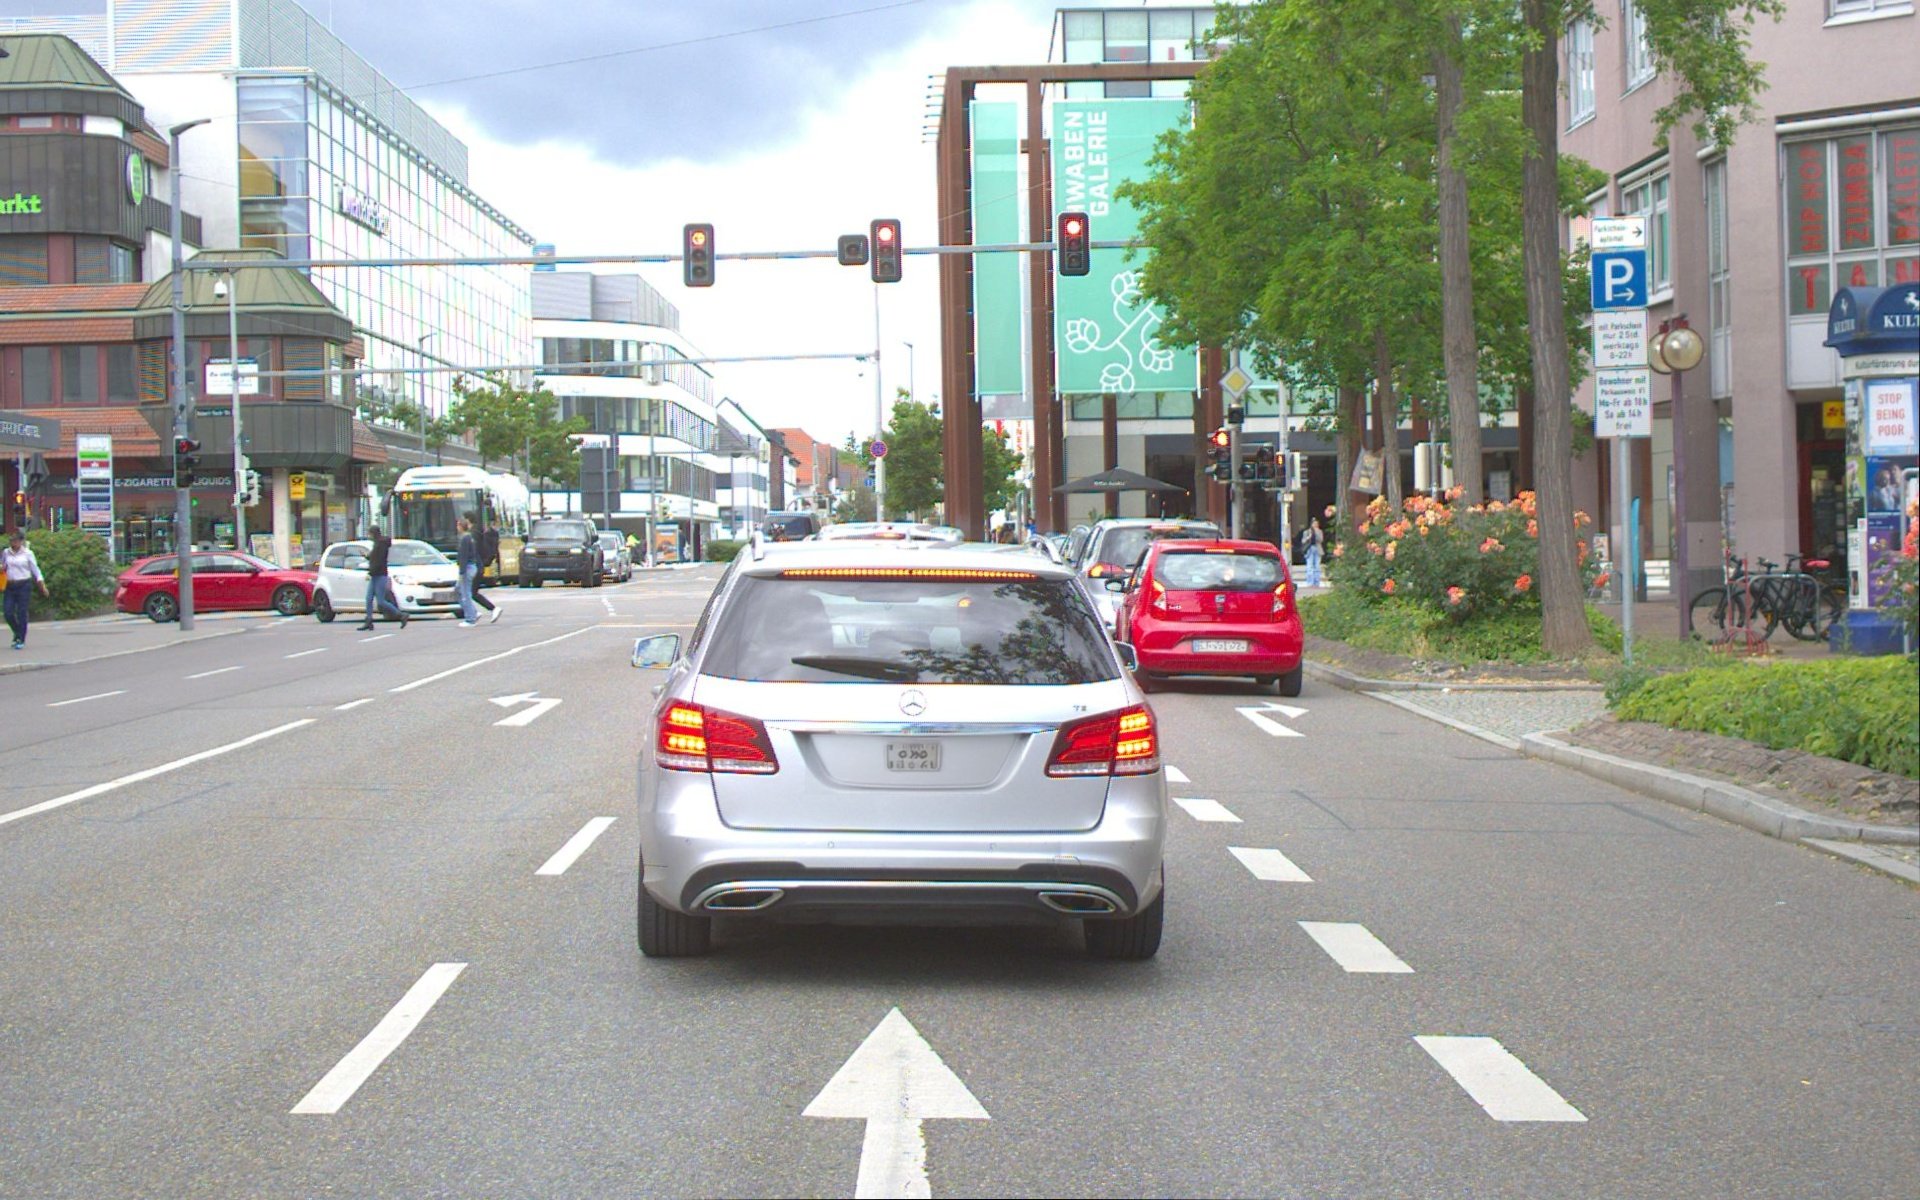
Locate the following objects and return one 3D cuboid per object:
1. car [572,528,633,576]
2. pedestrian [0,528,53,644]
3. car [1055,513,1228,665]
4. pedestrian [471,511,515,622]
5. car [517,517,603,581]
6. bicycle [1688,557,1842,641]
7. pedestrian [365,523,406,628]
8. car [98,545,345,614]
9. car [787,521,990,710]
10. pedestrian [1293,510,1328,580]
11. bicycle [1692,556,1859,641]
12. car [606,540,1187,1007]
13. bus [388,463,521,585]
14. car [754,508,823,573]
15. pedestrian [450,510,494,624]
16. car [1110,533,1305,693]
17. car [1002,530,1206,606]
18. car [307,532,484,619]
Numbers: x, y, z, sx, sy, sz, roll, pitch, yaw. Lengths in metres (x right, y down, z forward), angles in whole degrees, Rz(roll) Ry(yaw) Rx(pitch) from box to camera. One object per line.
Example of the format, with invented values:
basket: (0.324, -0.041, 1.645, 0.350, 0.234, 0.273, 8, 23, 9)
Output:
car: (-10.544, -1.429, 101.620, 1.555, 1.387, 3.288, 0, 1, -2)
pedestrian: (-13.164, -0.196, 48.075, 0.728, 1.604, 0.753, -1, 1, 0)
car: (2.026, -0.164, 39.334, 1.586, 1.628, 3.917, 1, 1, -2)
pedestrian: (-7.527, -0.546, 55.393, 0.644, 1.769, 0.570, -1, 1, -11)
car: (-10.892, -1.408, 93.897, 1.993, 1.700, 4.065, 0, 1, -2)
bicycle: (9.792, -0.014, 41.845, 1.769, 0.994, 0.447, -1, 1, 4)
pedestrian: (-9.156, -0.394, 54.789, 0.557, 1.645, 0.654, -1, 1, -15)
car: (-15.408, -0.432, 71.902, 4.715, 1.365, 1.964, -1, 1, 1)
car: (-0.606, 0.086, 29.660, 1.640, 1.522, 3.394, 0, 1, -1)
pedestrian: (8.350, -1.310, 82.001, 0.651, 1.645, 0.559, -1, 1, -15)
bicycle: (9.789, -0.023, 41.298, 1.901, 0.994, 0.468, -1, 1, 4)
car: (-0.224, 0.515, 13.094, 1.815, 1.443, 4.370, 1, 1, -1)
bus: (-14.113, -2.139, 96.527, 2.686, 3.250, 8.654, 0, 1, -2)
car: (-5.298, -1.854, 106.651, 1.993, 1.942, 4.951, 0, 1, -2)
pedestrian: (-7.745, -0.531, 54.578, 0.646, 1.784, 0.684, -1, 1, -9)
car: (2.352, 0.089, 33.355, 1.586, 1.438, 3.348, 1, 1, -1)
car: (2.992, -0.677, 72.002, 4.187, 1.525, 1.790, 0, 1, 0)
car: (-10.153, -0.432, 61.700, 1.574, 1.483, 3.462, -3, 2, -39)
